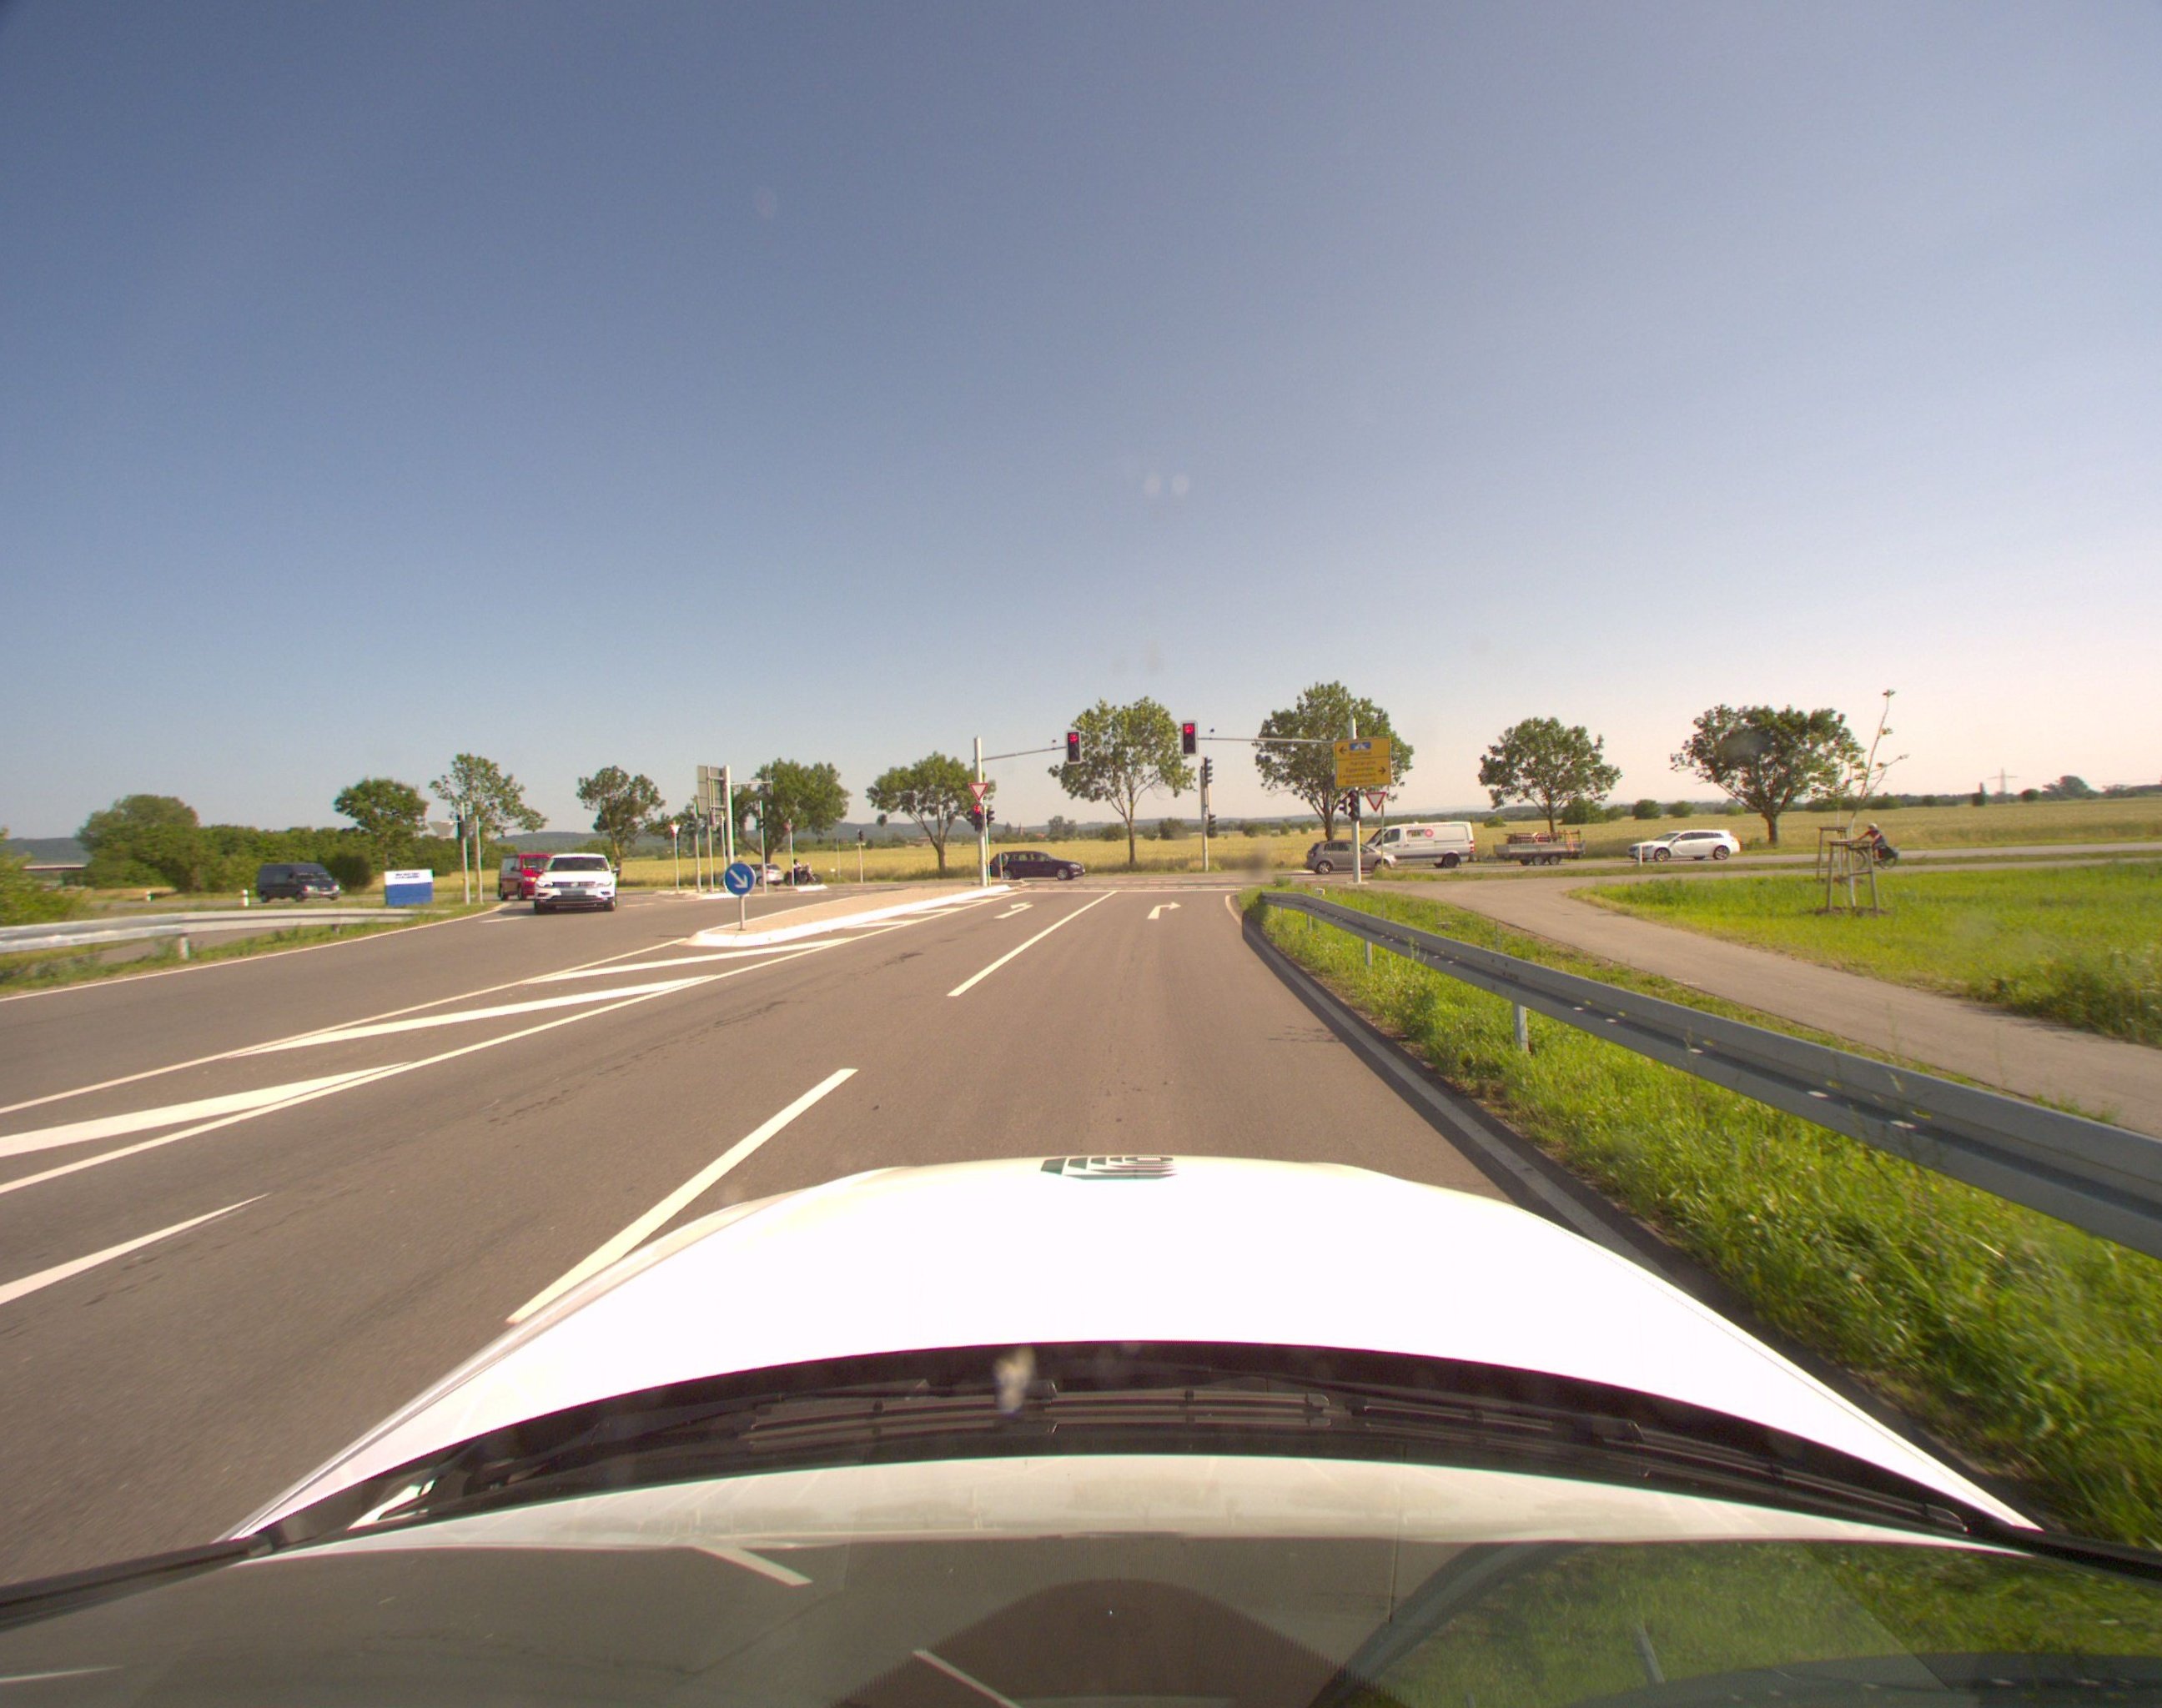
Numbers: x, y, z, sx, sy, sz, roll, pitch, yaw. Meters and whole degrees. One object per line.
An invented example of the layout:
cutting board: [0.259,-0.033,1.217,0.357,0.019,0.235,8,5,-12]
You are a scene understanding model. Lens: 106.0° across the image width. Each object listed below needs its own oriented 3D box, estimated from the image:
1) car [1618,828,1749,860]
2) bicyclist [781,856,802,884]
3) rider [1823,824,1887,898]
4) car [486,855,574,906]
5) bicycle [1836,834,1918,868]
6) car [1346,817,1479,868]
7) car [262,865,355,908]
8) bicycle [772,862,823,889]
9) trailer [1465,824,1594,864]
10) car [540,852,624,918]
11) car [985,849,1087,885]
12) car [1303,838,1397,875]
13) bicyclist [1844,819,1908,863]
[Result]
car: [29.548,-0.473,40.062,4.846,1.510,2.002,0,0,4]
bicyclist: [-15.605,0.837,43.915,0.804,1.489,0.758,0,0,5]
rider: [18.113,0.153,19.051,0.826,1.642,0.979,-4,2,-40]
car: [-23.464,1.066,34.611,4.863,1.940,1.851,0,2,41]
bicycle: [29.977,-0.104,30.698,2.146,1.186,0.891,-1,0,4]
car: [16.663,-0.559,41.191,5.925,2.492,2.004,0,0,7]
car: [-50.753,2.151,53.502,5.683,2.622,2.044,-2,1,20]
bicycle: [-15.249,1.147,43.889,2.480,1.397,0.733,0,0,3]
trailer: [22.212,-0.475,40.520,5.232,1.753,1.958,-2,0,7]
car: [-14.208,0.904,23.401,1.701,1.674,4.819,0,-3,-27]
car: [-2.163,0.617,39.842,4.646,1.518,1.927,-2,2,8]
car: [12.500,0.114,38.045,3.932,1.668,1.768,0,0,9]
bicyclist: [29.918,-0.503,30.679,1.273,1.601,1.167,-1,1,4]
